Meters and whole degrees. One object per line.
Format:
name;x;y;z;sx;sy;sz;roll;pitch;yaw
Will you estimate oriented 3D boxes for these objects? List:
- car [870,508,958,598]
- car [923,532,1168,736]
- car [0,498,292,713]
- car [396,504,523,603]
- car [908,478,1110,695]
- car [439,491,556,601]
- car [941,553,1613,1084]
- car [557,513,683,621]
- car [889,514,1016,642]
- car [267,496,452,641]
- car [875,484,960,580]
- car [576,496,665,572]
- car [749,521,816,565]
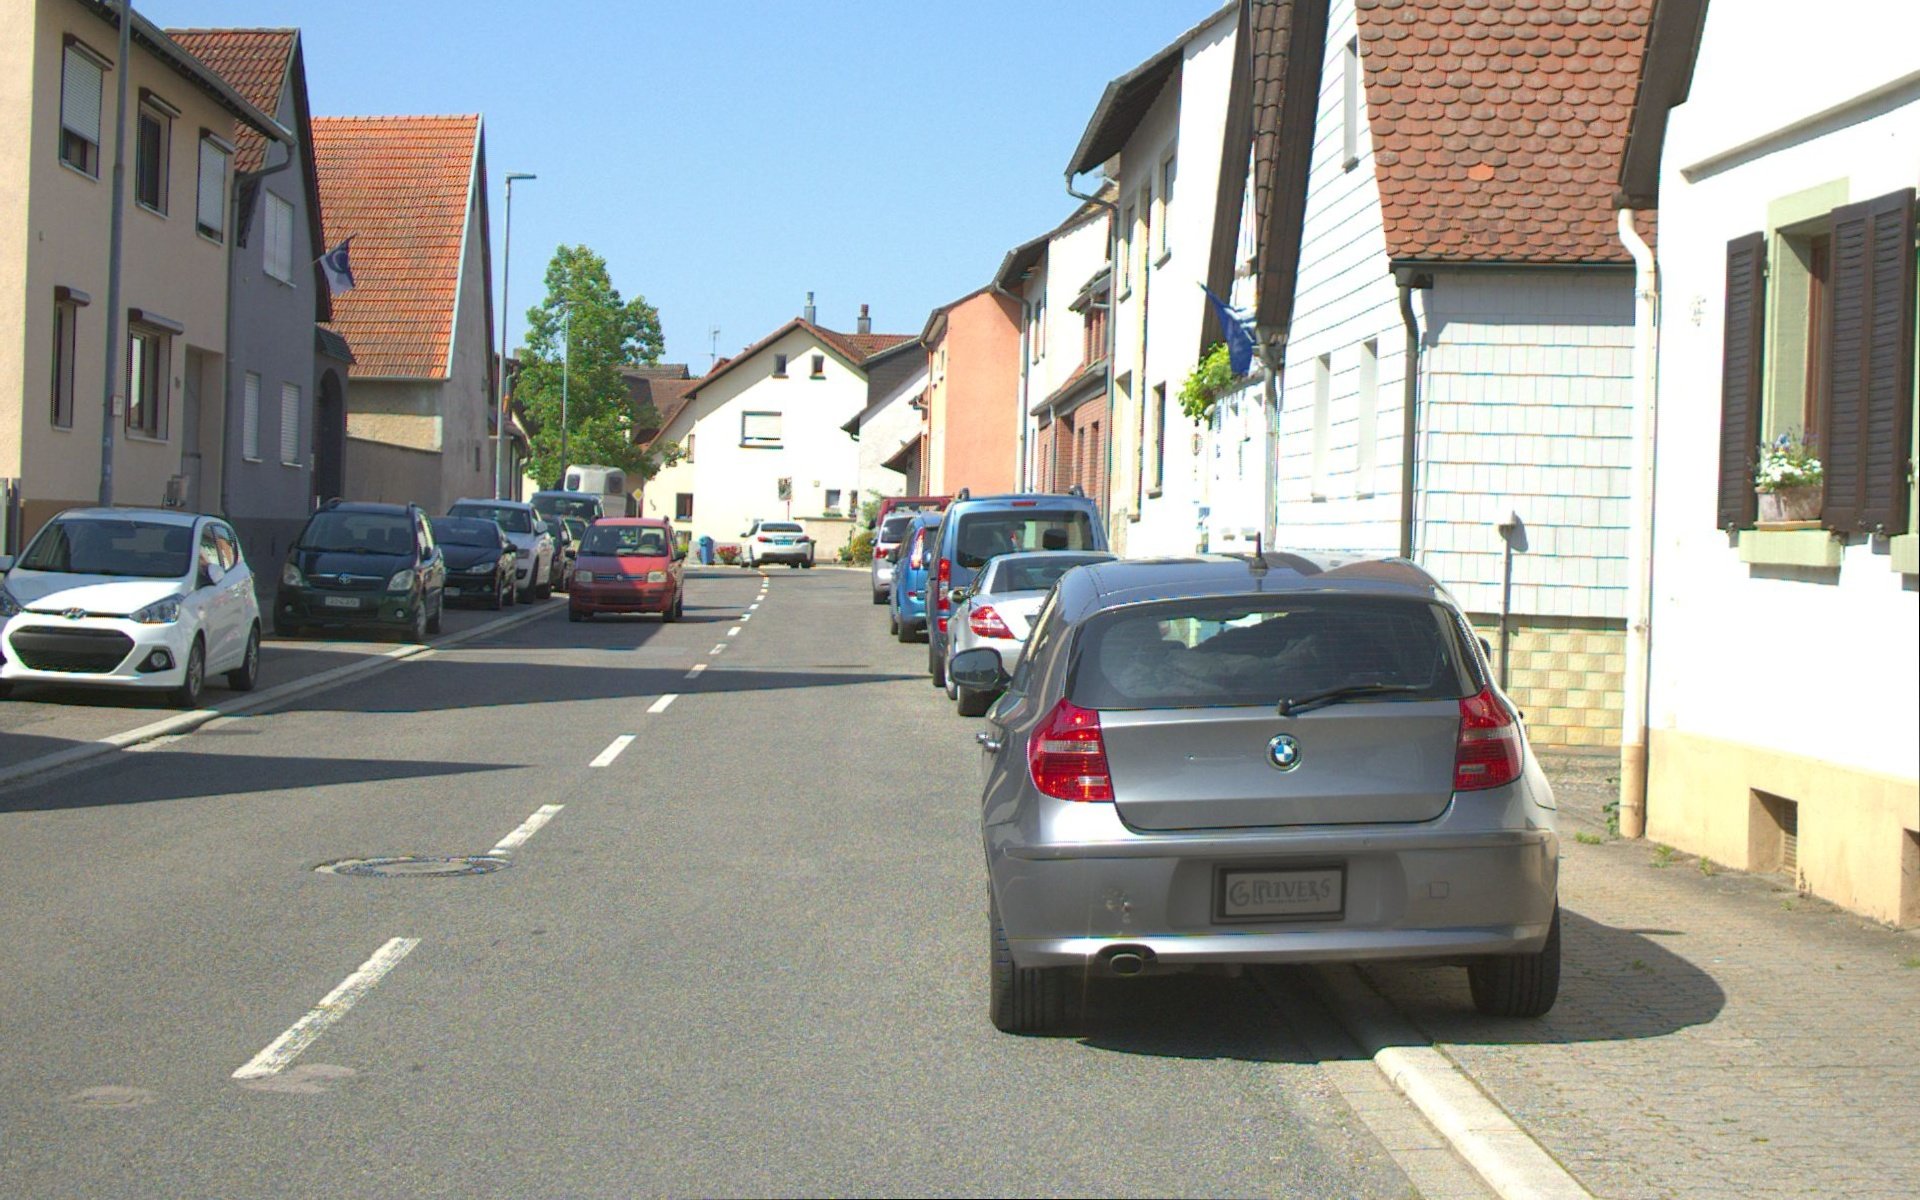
car;-0.853;-0.854;61.732;1.420;1.510;3.304;3;1;-2
car;0.641;0.235;28.183;1.704;1.491;3.453;3;1;-2
car;-6.756;-0.007;27.882;1.806;1.542;4.404;3;1;-1
car;-7.693;-0.714;53.078;1.504;1.448;3.509;1;1;-1
car;0.420;-0.152;33.087;1.649;1.903;3.626;3;1;-2
car;-7.696;-0.906;57.421;1.527;1.707;3.626;3;1;-2
car;0.866;0.573;11.399;1.704;1.428;3.890;0;1;-2
car;-5.057;-0.513;51.469;1.601;1.484;3.626;3;1;-2
car;-0.124;-0.300;44.047;1.420;1.510;3.304;3;1;-2
car;-7.137;-0.396;41.164;1.619;1.572;3.962;3;1;-2
car;-0.930;-1.471;74.768;1.767;1.997;3.450;1;1;-1
car;-7.677;-1.482;78.024;1.754;1.619;4.000;1;1;-2
car;-5.501;-1.766;107.081;1.993;1.284;4.000;1;1;-2
